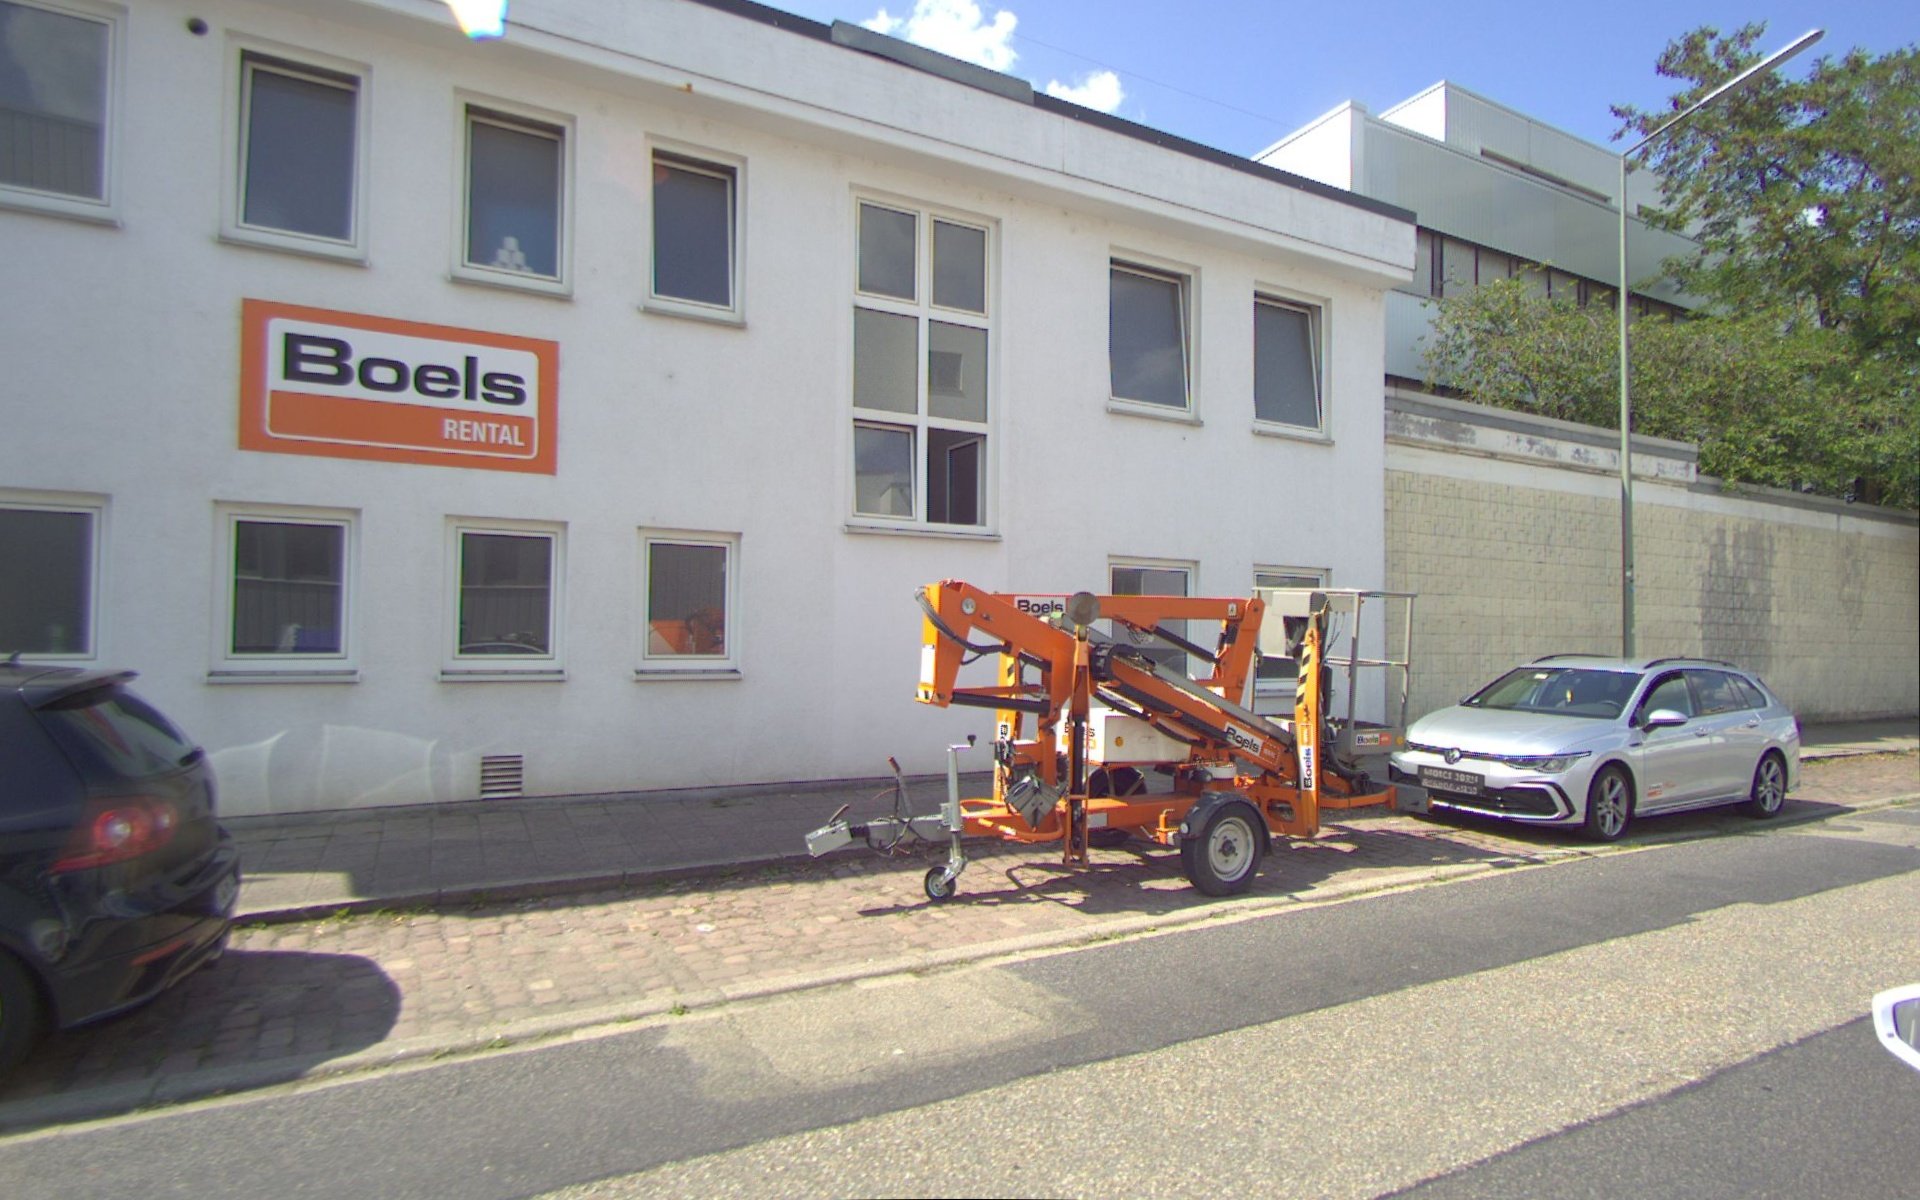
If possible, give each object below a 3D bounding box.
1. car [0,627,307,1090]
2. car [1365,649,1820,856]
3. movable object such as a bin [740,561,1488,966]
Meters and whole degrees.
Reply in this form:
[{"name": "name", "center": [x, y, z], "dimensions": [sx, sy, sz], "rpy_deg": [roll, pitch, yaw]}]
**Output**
[{"name": "car", "center": [-4.744, 0.825, 3.336], "dimensions": [4.175, 1.474, 1.665], "rpy_deg": [3, -1, -31]}, {"name": "car", "center": [5.974, 1.264, 9.348], "dimensions": [4.460, 1.474, 1.665], "rpy_deg": [3, -1, -30]}, {"name": "movable object such as a bin", "center": [1.253, 0.841, 6.806], "dimensions": [5.078, 1.944, 1.606], "rpy_deg": [2, 1, -30]}]
